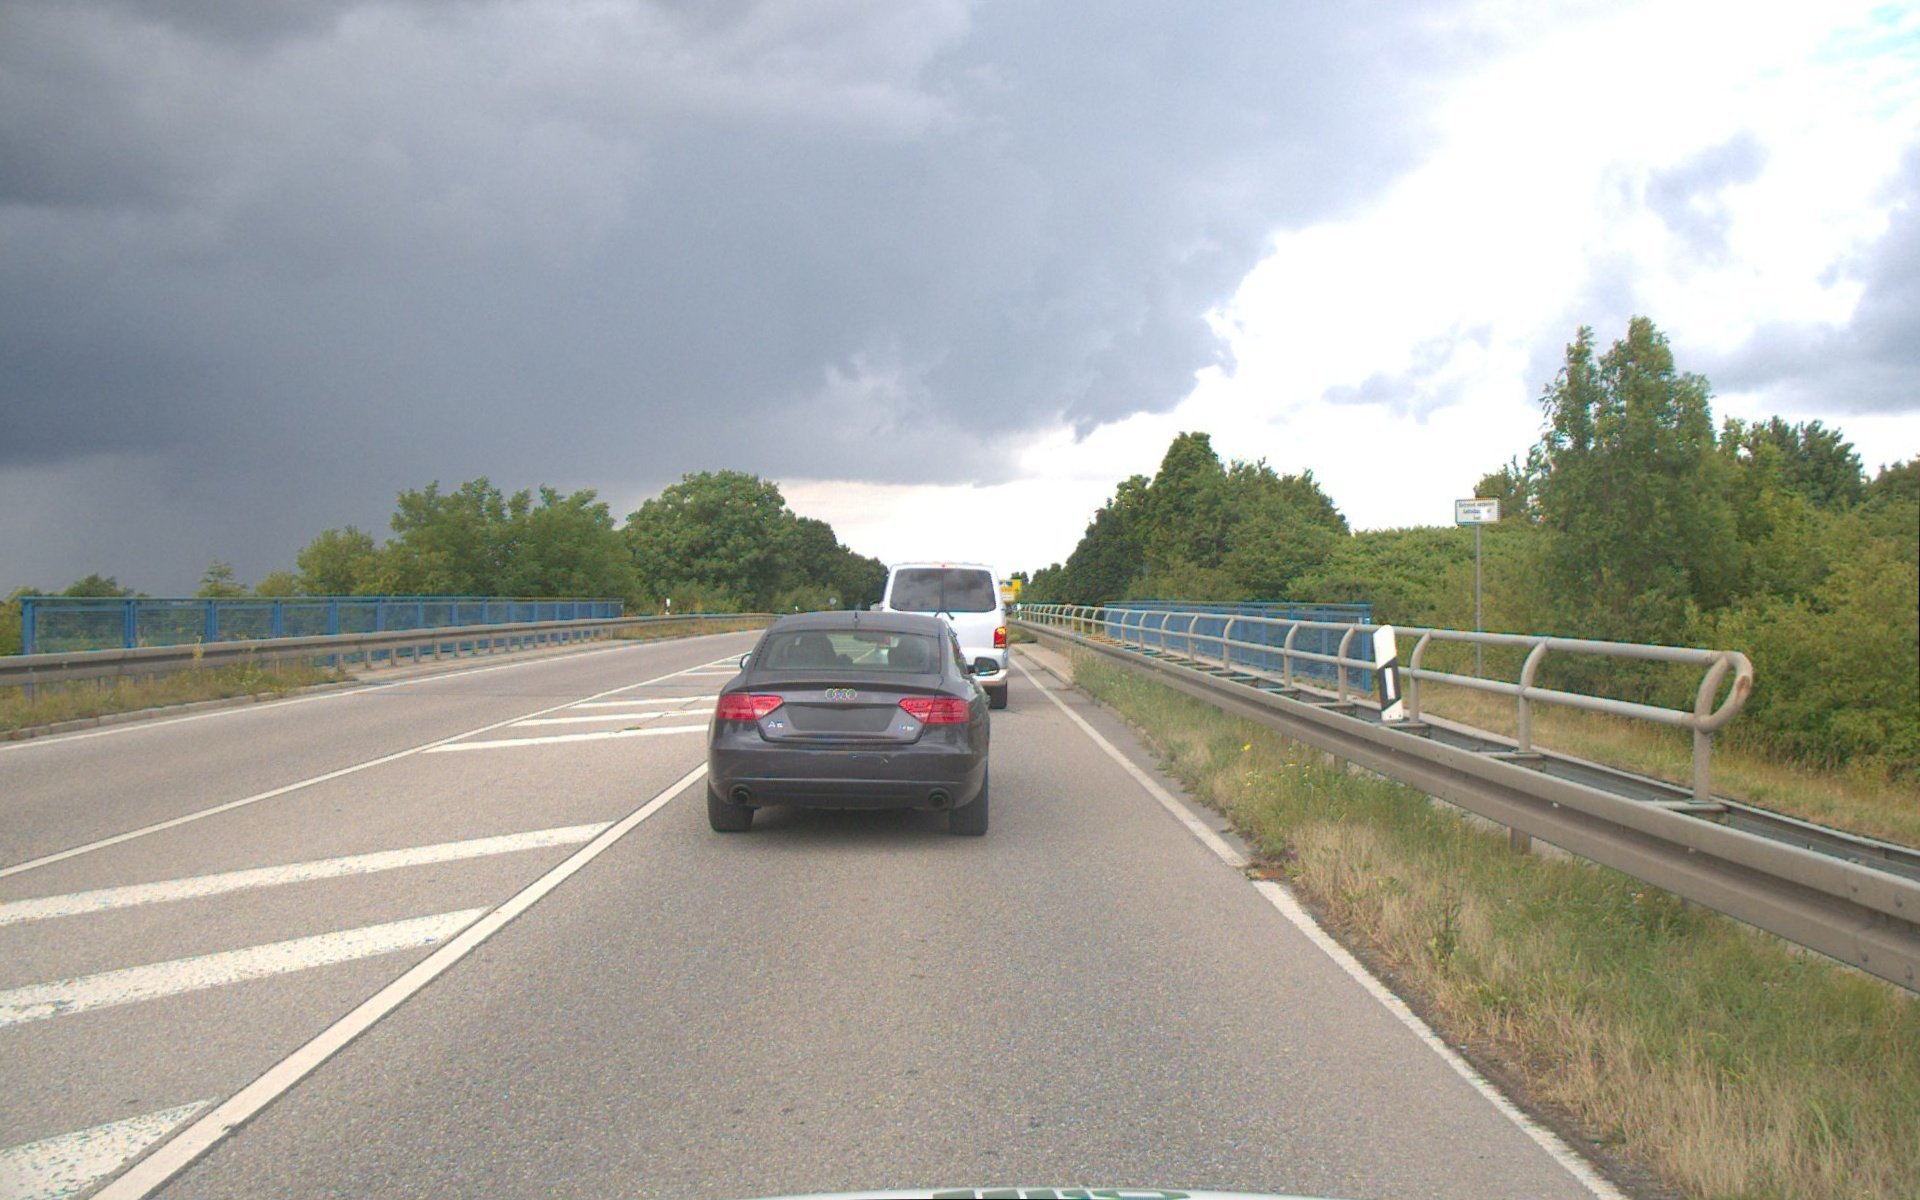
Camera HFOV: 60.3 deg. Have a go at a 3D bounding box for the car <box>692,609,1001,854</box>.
[{"bbox_3d":[-0.635,0.769,11.590,1.784,1.405,4.072,0,0,0],"label":"car"}]

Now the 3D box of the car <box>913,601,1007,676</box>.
[{"bbox_3d":[0.021,0.740,33.523,1.784,1.405,4.072,0,0,0],"label":"car"}]

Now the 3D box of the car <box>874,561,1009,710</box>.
[{"bbox_3d":[-0.266,0.479,23.862,1.791,1.969,3.999,0,0,-1],"label":"car"}]
